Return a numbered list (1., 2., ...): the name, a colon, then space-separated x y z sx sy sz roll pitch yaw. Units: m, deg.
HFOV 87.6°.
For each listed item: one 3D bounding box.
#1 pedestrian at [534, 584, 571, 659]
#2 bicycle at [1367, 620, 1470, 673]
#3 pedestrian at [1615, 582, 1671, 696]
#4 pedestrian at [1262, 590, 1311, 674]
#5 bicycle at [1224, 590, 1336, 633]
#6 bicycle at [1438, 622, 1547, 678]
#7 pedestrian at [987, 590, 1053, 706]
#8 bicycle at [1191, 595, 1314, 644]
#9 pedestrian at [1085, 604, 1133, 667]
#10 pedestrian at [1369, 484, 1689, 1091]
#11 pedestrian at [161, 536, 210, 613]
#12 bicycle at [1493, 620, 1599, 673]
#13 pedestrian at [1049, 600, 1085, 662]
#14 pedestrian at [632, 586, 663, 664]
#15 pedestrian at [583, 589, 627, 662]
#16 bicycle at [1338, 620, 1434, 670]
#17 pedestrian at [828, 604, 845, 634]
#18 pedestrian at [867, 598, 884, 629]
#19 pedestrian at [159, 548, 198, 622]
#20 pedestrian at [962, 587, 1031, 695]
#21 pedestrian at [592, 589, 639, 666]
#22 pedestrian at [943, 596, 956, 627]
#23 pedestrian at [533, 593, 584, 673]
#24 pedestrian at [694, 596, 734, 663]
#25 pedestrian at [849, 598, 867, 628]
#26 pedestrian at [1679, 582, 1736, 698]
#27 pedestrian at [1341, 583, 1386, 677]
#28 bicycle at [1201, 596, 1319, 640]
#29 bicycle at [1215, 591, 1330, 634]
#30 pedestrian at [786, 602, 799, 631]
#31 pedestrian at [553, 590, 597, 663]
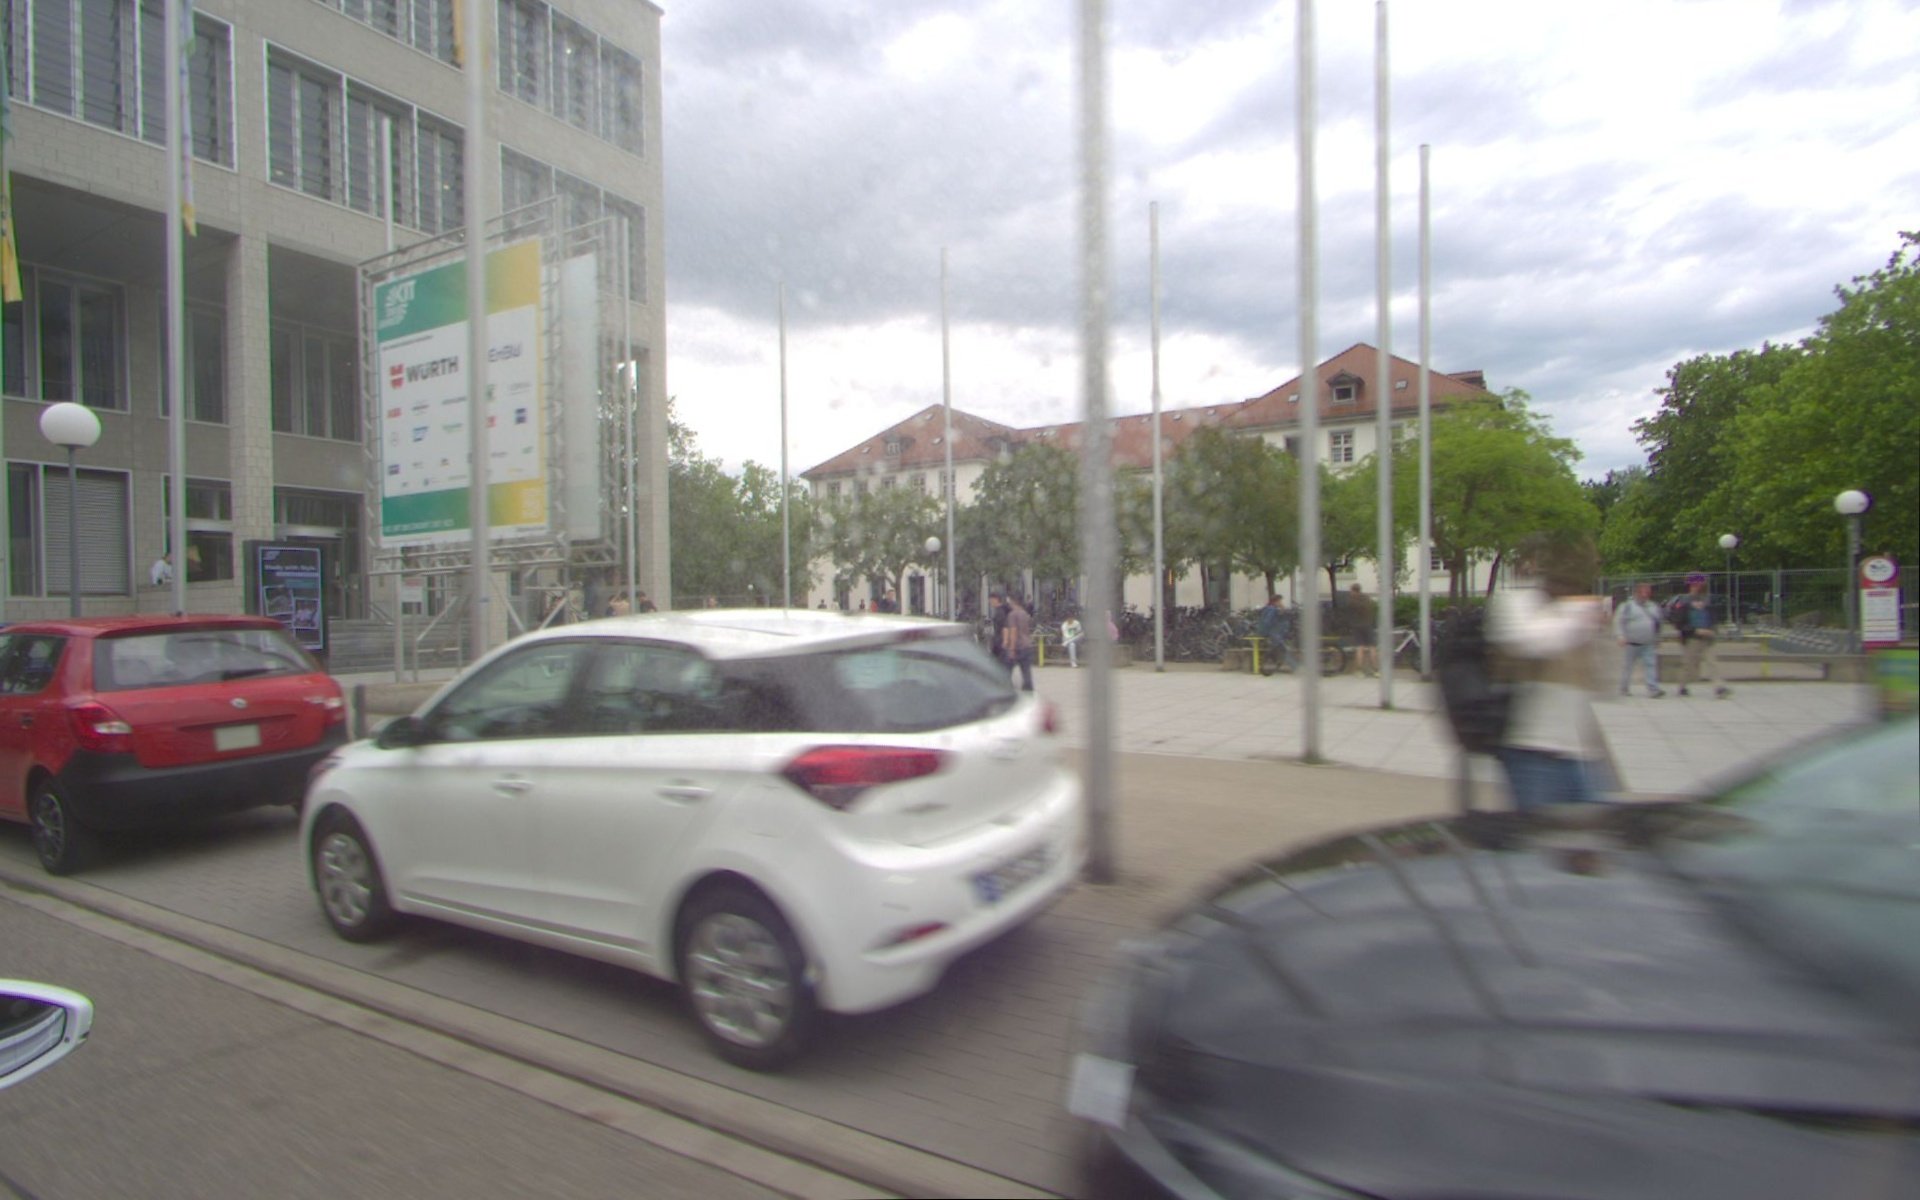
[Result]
1. pedestrian: -10.232 0.542 25.163 0.611 1.865 0.589 -1 0 32
2. bicycle: 9.543 0.952 20.900 1.900 1.063 0.456 0 1 17
3. pedestrian: 10.729 0.594 15.720 0.670 1.738 0.669 -1 0 37
4. pedestrian: 6.920 0.664 21.284 0.951 1.727 0.850 -1 1 17
5. bicycle: 9.495 0.324 29.768 3.063 1.185 0.744 2 0 33
6. bicycle: 10.630 0.985 20.035 1.905 1.063 0.455 0 1 27
7. pedestrian: 0.924 0.730 15.458 0.769 1.735 0.645 1 0 -23
8. bicycle: 7.816 0.499 26.846 3.063 1.185 0.744 2 0 33
9. pedestrian: 3.496 0.830 23.444 0.952 1.439 0.850 -1 0 20
10. pedestrian: 2.022 0.568 3.557 0.812 1.811 0.786 -1 0 43
11. pedestrian: -17.519 -0.572 22.662 0.796 1.681 0.627 1 1 -34
12. bicycle: 12.382 0.970 21.219 1.905 1.063 0.455 0 1 27
13. pedestrian: 2.518 0.727 23.682 0.754 1.432 0.673 -1 0 0
14. pedestrian: -7.752 0.614 24.856 0.592 1.890 0.778 -2 1 -10
15. pedestrian: -8.924 0.647 25.191 0.724 1.808 0.720 -1 0 18
16. bicycle: 9.333 0.982 21.985 1.901 1.063 0.456 0 1 18
17. pedestrian: -6.743 1.031 54.624 0.656 1.662 0.660 -1 0 28
18. pedestrian: -4.686 0.754 55.335 0.656 1.662 0.659 -1 0 29
19. pedestrian: -18.186 -0.341 23.302 0.625 1.681 0.799 1 1 -43
20. pedestrian: 0.605 0.660 16.584 0.894 1.736 0.691 1 2 -23
21. pedestrian: -8.220 0.645 23.923 0.724 1.808 0.763 -1 0 18
22. pedestrian: -0.585 0.632 54.859 0.650 1.662 0.666 -1 0 -3
23. pedestrian: -8.739 0.708 21.789 0.695 1.692 0.754 -1 0 32
24. pedestrian: -6.239 0.747 25.375 0.726 1.663 0.927 1 1 -28
25. pedestrian: -5.690 0.723 55.830 0.684 1.662 0.659 -1 0 29
26. pedestrian: 11.444 0.609 15.341 0.649 1.737 0.581 -2 -1 37
27. pedestrian: 8.107 0.598 20.114 0.502 1.858 0.672 -1 0 -19
28. bicycle: 8.316 0.508 27.899 3.064 1.185 0.743 -1 0 33
29. bicycle: 8.983 0.367 28.878 3.064 1.185 0.743 -1 0 33
30. pedestrian: -9.968 0.974 59.574 0.650 1.662 0.666 -1 0 -6
31. pedestrian: -9.378 0.635 24.380 0.595 1.738 0.775 -1 0 32
